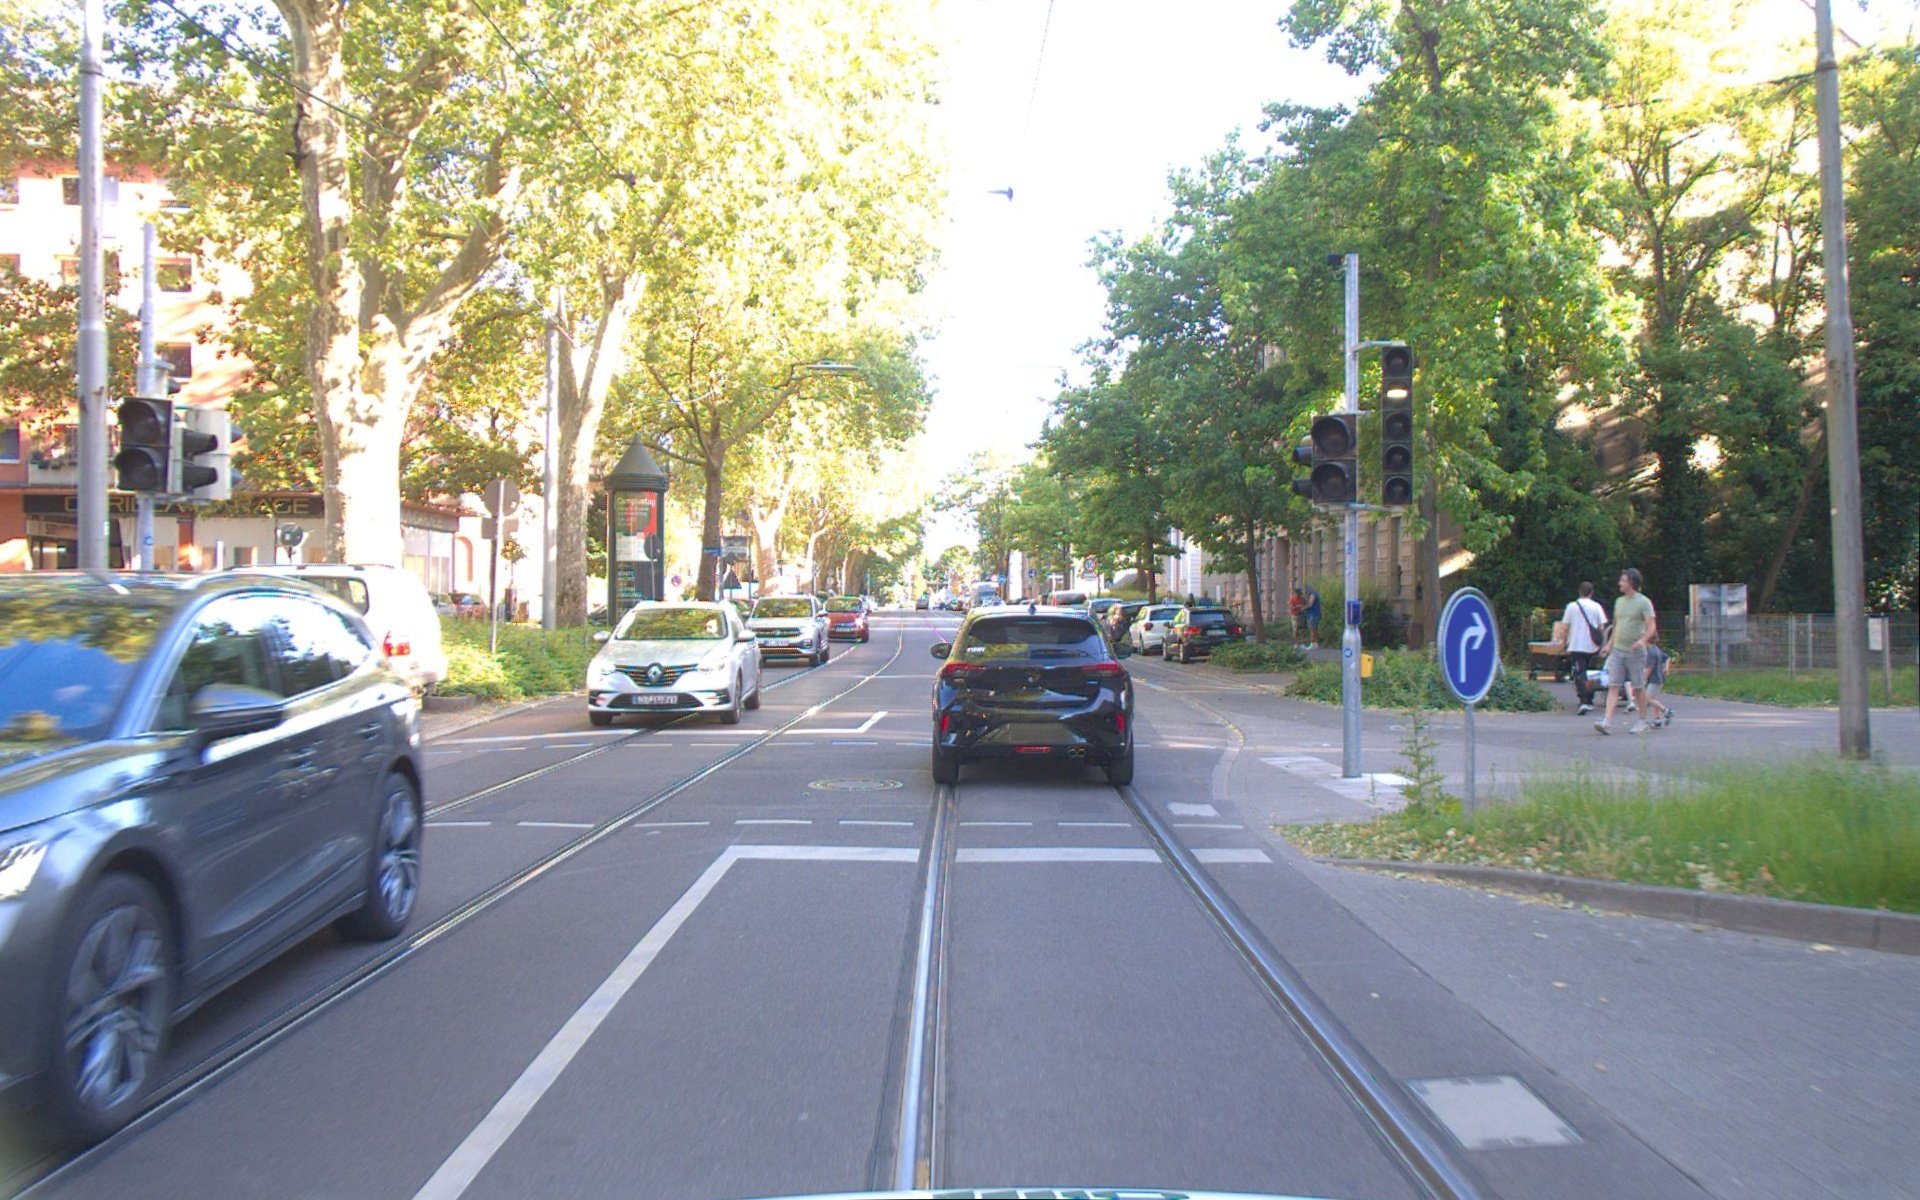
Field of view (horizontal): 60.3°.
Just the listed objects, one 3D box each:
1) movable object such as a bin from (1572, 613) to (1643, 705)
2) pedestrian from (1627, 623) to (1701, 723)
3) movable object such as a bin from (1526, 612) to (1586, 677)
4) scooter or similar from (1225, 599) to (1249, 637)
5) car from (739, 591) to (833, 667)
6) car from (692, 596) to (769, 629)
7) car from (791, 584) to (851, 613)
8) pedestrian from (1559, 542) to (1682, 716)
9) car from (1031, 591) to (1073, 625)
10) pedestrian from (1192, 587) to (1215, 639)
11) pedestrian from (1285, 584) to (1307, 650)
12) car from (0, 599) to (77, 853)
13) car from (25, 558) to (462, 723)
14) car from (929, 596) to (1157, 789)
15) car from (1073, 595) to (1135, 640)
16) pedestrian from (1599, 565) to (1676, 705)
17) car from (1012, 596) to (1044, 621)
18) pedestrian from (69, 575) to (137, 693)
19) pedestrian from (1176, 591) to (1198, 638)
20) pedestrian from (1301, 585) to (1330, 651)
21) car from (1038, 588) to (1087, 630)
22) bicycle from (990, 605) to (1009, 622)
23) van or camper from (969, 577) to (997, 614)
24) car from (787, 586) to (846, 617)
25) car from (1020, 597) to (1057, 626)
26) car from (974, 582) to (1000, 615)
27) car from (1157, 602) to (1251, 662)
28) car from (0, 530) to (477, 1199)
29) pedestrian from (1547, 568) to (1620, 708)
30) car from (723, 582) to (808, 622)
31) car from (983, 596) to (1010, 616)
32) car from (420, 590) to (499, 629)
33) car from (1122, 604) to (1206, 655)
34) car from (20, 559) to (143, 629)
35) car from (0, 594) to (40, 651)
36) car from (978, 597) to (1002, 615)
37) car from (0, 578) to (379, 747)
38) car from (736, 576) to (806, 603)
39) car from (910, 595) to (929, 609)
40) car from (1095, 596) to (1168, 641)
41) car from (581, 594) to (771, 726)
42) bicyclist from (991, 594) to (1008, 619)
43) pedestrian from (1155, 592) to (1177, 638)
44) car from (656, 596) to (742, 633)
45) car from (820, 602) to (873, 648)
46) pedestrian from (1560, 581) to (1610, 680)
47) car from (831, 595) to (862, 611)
[{"bbox_3d":[9.070,0.812,23.194,0.625,1.223,1.306,-2,0,9],"label":"movable object such as a bin"},{"bbox_3d":[8.291,0.852,19.497,0.660,1.138,0.660,1,0,9],"label":"pedestrian"},{"bbox_3d":[10.917,0.810,30.313,0.653,1.146,0.955,1,0,-9],"label":"movable object such as a bin"},{"bbox_3d":[9.444,0.610,56.457,0.564,1.268,1.334,1,0,-1],"label":"scooter or similar"},{"bbox_3d":[-3.880,0.620,37.480,1.779,1.596,4.115,-1,0,-2],"label":"car"},{"bbox_3d":[-10.751,0.569,77.622,3.349,1.490,1.759,1,0,0],"label":"car"},{"bbox_3d":[-13.302,-0.133,158.431,5.522,2.638,2.196,1,0,2],"label":"car"},{"bbox_3d":[7.487,0.325,18.776,0.854,1.918,0.992,1,0,-20],"label":"pedestrian"},{"bbox_3d":[4.926,0.420,88.920,1.848,1.797,4.676,0,0,-2],"label":"car"},{"bbox_3d":[8.546,0.458,58.146,0.711,1.824,0.600,1,0,1],"label":"pedestrian"},{"bbox_3d":[9.548,0.479,46.961,0.586,1.824,0.729,1,0,12],"label":"pedestrian"},{"bbox_3d":[-7.947,0.701,9.460,4.671,1.486,1.953,1,0,-6],"label":"car"},{"bbox_3d":[-8.655,0.483,20.316,4.480,1.866,1.937,1,0,-3],"label":"car"},{"bbox_3d":[0.616,0.730,14.955,1.728,1.486,3.949,1,0,-2],"label":"car"},{"bbox_3d":[5.571,0.661,64.276,1.846,1.595,4.240,-2,0,-2],"label":"car"},{"bbox_3d":[9.112,0.464,22.281,0.710,1.824,0.969,-2,0,9],"label":"pedestrian"},{"bbox_3d":[4.224,0.525,103.543,1.668,1.448,3.977,-3,0,-2],"label":"car"},{"bbox_3d":[-13.706,0.538,26.476,0.630,1.841,0.752,1,0,4],"label":"pedestrian"},{"bbox_3d":[8.620,0.546,62.763,0.711,1.739,0.856,1,0,1],"label":"pedestrian"},{"bbox_3d":[9.933,0.489,46.163,0.587,1.824,0.728,1,0,-5],"label":"pedestrian"},{"bbox_3d":[4.901,0.436,79.718,1.846,1.883,4.965,-2,0,-2],"label":"car"},{"bbox_3d":[2.418,0.841,101.214,0.948,1.016,2.581,1,0,-3],"label":"bicycle"},{"bbox_3d":[2.118,-0.411,153.453,2.209,3.272,5.529,-1,0,-2],"label":"van or camper"},{"bbox_3d":[-12.659,0.095,145.734,4.935,2.415,2.080,-3,0,-2],"label":"car"},{"bbox_3d":[4.480,0.647,94.811,1.678,1.540,4.034,-2,0,-3],"label":"car"},{"bbox_3d":[2.355,-0.141,146.893,2.043,2.820,4.696,-1,0,-2],"label":"car"},{"bbox_3d":[6.357,0.820,43.463,1.640,1.437,3.840,-2,0,-3],"label":"car"},{"bbox_3d":[-3.240,0.688,5.854,1.869,1.666,4.319,-1,0,-1],"label":"car"},{"bbox_3d":[8.330,0.494,22.124,0.710,1.824,0.854,-2,0,9],"label":"pedestrian"},{"bbox_3d":[-11.715,0.139,99.880,4.935,2.299,2.083,1,0,-5],"label":"car"},{"bbox_3d":[2.817,0.486,129.432,1.846,1.459,4.528,-2,0,-2],"label":"car"},{"bbox_3d":[-19.270,0.350,63.844,1.908,1.432,3.891,1,0,-1],"label":"car"},{"bbox_3d":[6.134,0.863,50.097,1.846,1.391,4.105,-2,0,-2],"label":"car"},{"bbox_3d":[-27.230,-0.188,51.448,1.958,2.038,4.907,1,0,-11],"label":"car"},{"bbox_3d":[-27.116,0.559,43.833,4.386,1.475,1.820,1,0,-10],"label":"car"},{"bbox_3d":[2.537,0.522,139.692,1.767,1.459,3.998,-1,-1,-2],"label":"car"},{"bbox_3d":[-8.639,0.640,17.858,4.057,1.675,1.901,1,0,-3],"label":"car"},{"bbox_3d":[-11.756,-0.631,103.190,4.215,1.635,1.924,1,0,-5],"label":"car"},{"bbox_3d":[-5.694,0.297,231.625,2.210,1.873,5.524,-1,0,-6],"label":"car"},{"bbox_3d":[6.117,0.642,59.451,1.847,1.492,4.590,-2,0,-4],"label":"car"},{"bbox_3d":[-3.487,0.694,21.032,1.739,1.486,4.203,1,0,-1],"label":"car"},{"bbox_3d":[2.430,0.408,101.219,0.939,1.525,1.093,1,0,-3],"label":"bicyclist"},{"bbox_3d":[7.807,0.582,62.723,0.711,1.722,0.957,1,0,0],"label":"pedestrian"},{"bbox_3d":[-11.076,0.609,70.402,3.349,1.490,1.697,1,0,0],"label":"car"},{"bbox_3d":[-3.844,0.827,56.396,1.627,1.469,3.472,1,0,-1],"label":"car"},{"bbox_3d":[11.164,0.540,29.542,0.608,1.756,0.551,1,0,-17],"label":"pedestrian"},{"bbox_3d":[-15.174,0.378,221.047,3.903,2.049,2.001,1,0,4],"label":"car"}]
